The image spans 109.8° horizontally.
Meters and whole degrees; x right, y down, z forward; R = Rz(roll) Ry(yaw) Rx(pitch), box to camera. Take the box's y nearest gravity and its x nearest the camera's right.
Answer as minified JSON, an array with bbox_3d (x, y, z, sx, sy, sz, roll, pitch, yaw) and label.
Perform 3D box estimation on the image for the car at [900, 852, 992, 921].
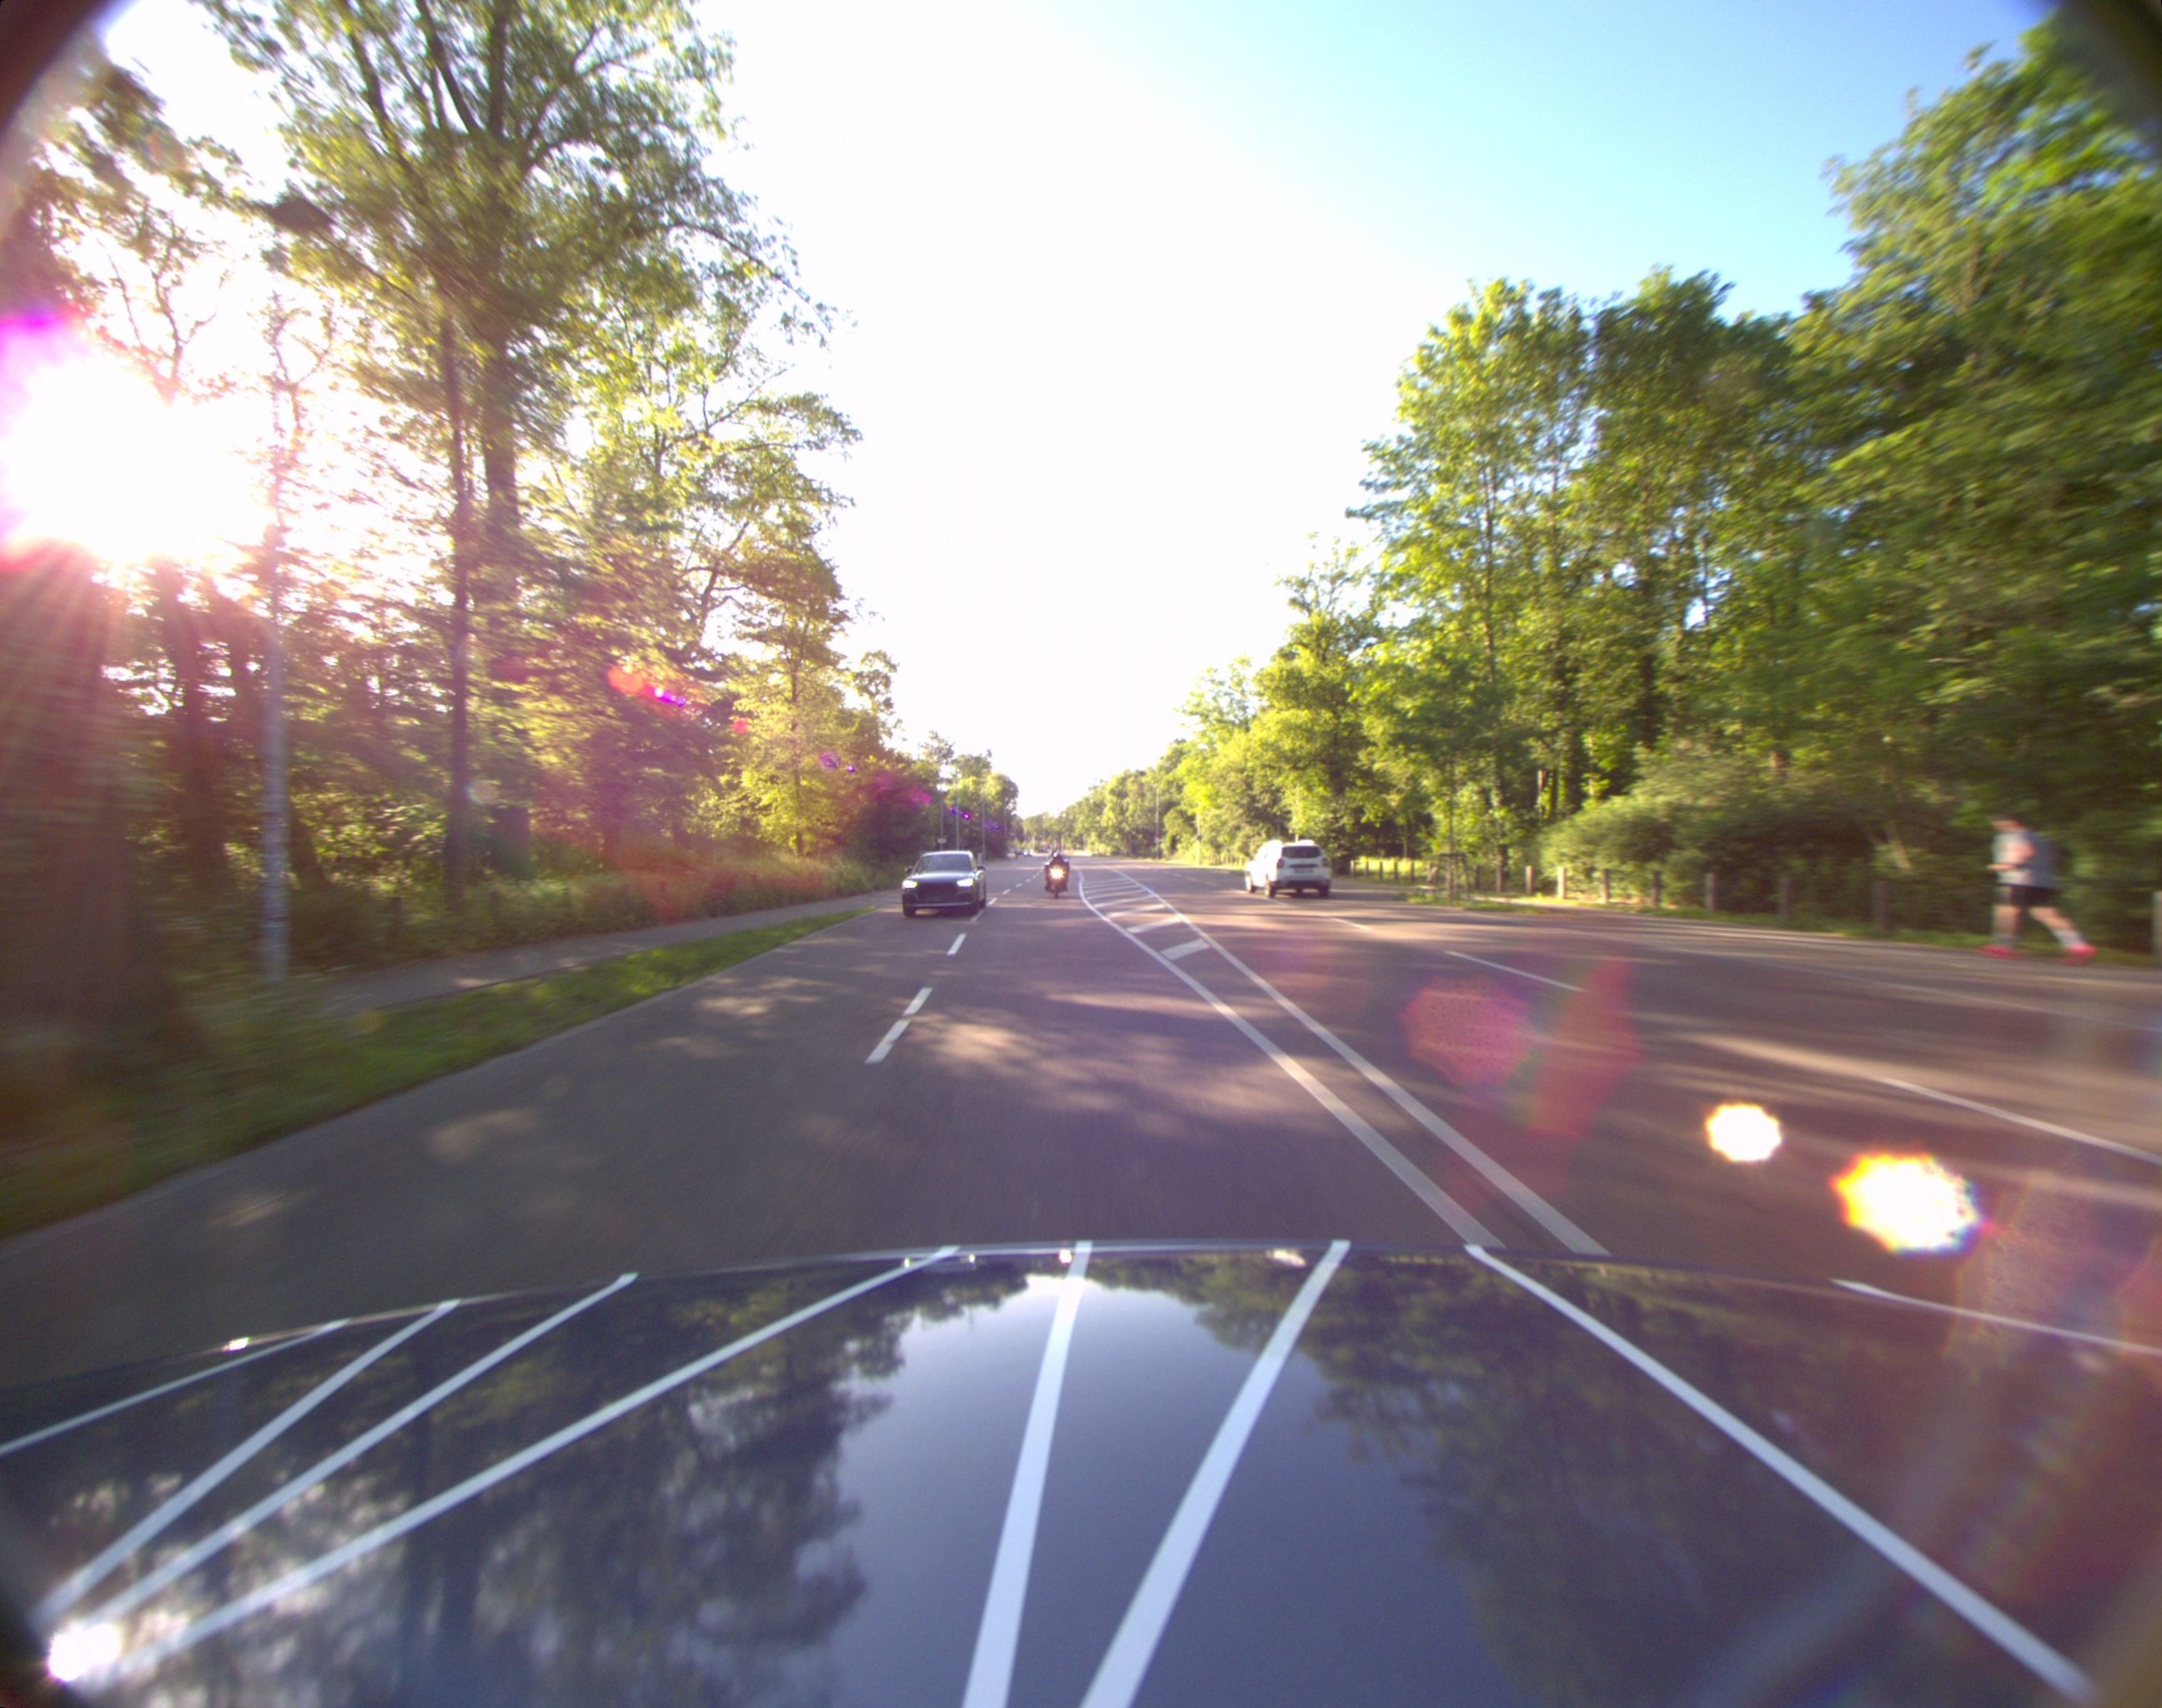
[{"bbox_3d":[-3.505,0.788,20.454,1.861,1.609,3.998,-1,1,-2],"label":"car"}]

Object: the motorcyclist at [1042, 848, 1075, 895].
[{"bbox_3d":[-0.768,0.588,25.989,0.952,1.523,1.074,-2,1,4],"label":"motorcyclist"}]

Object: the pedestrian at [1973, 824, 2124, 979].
[{"bbox_3d":[11.452,0.540,9.022,0.773,1.758,0.738,1,1,-3],"label":"pedestrian"}]

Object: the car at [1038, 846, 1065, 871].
[{"bbox_3d":[-2.217,0.292,57.807,1.999,1.761,4.230,-1,1,-1],"label":"car"}]

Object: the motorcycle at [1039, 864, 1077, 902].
[{"bbox_3d":[-0.746,0.935,25.869,0.956,1.098,3.340,-3,0,4],"label":"motorcycle"}]

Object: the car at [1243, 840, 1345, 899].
[{"bbox_3d":[6.461,0.410,23.615,1.998,1.650,4.448,-1,1,1],"label":"car"}]

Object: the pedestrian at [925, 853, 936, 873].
[{"bbox_3d":[-11.389,0.667,57.440,0.642,1.510,0.760,-3,1,-3],"label":"pedestrian"}]
